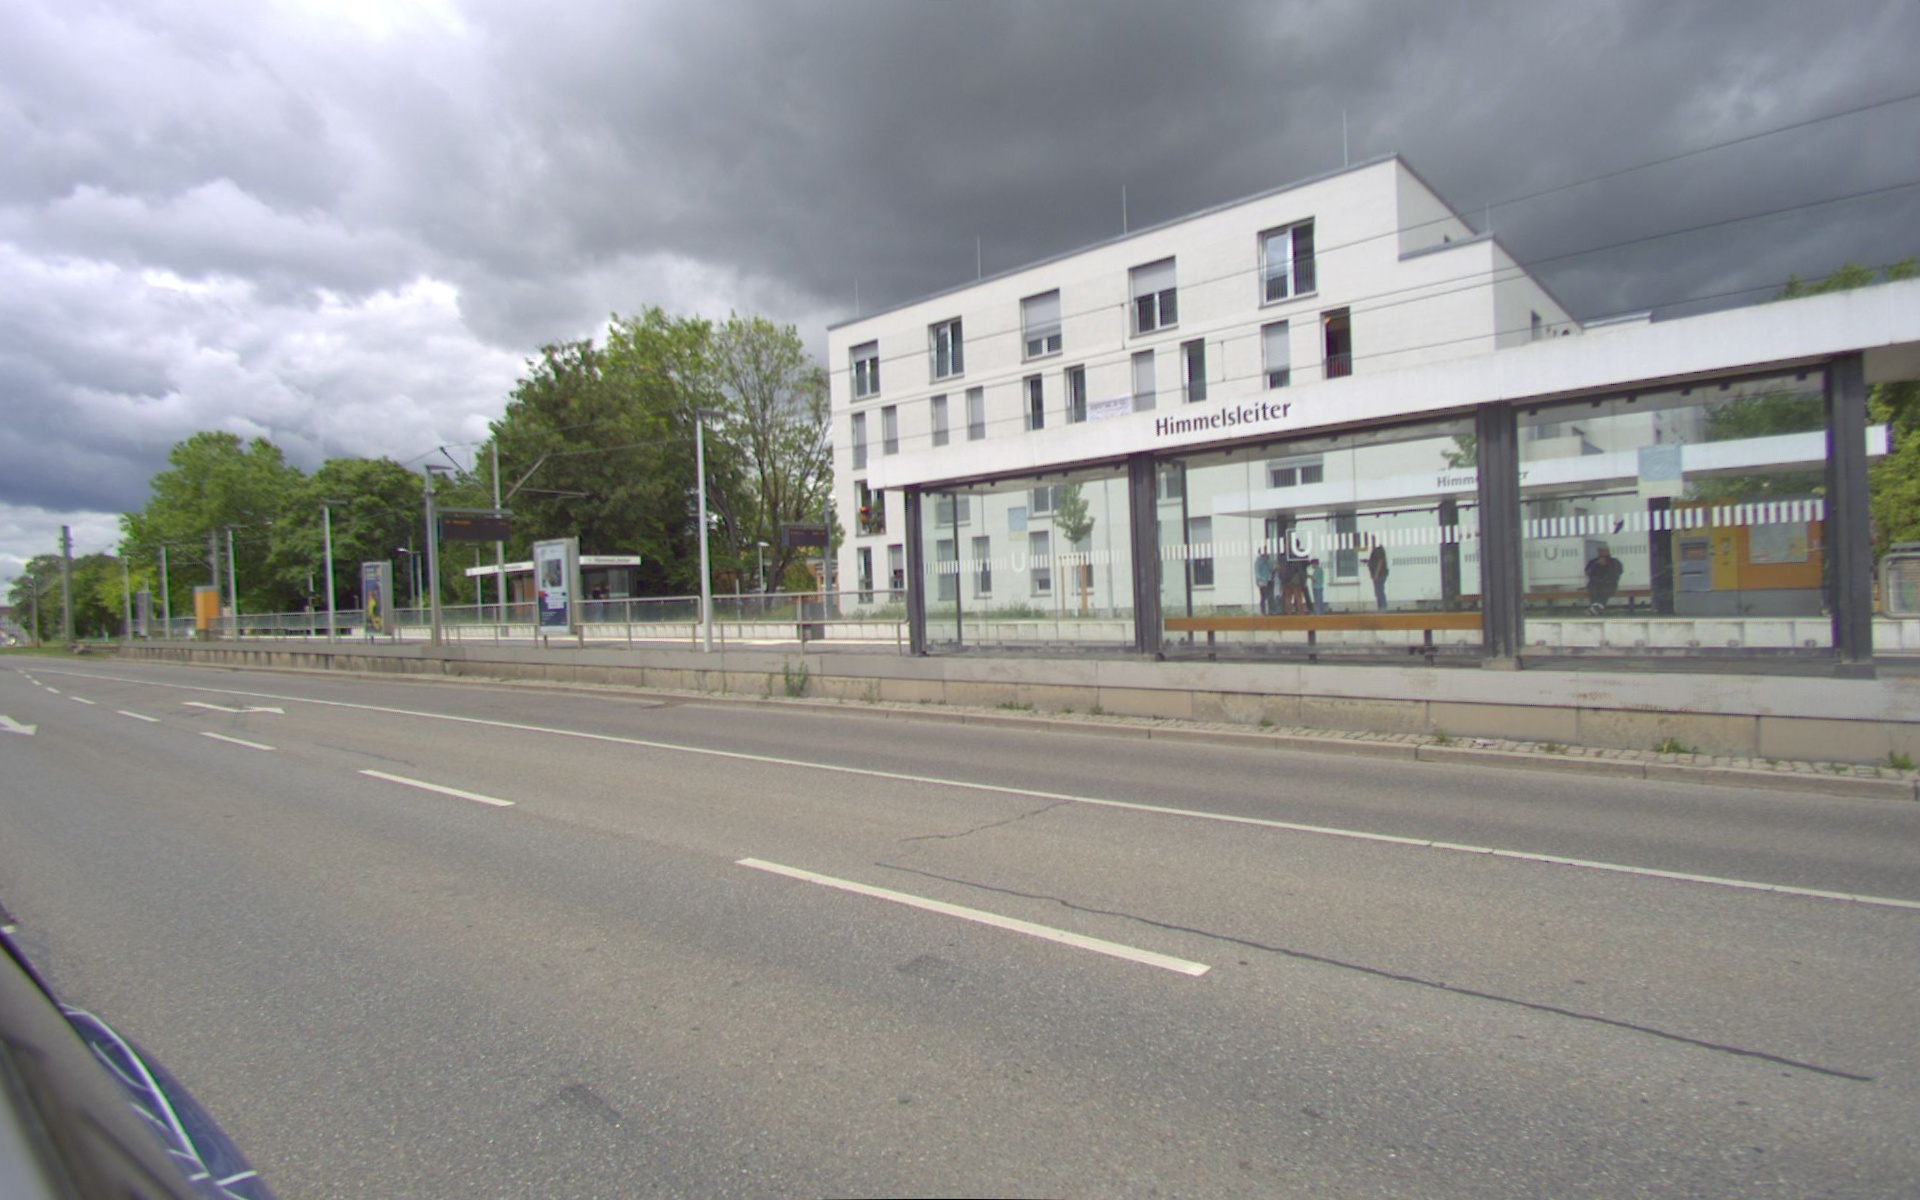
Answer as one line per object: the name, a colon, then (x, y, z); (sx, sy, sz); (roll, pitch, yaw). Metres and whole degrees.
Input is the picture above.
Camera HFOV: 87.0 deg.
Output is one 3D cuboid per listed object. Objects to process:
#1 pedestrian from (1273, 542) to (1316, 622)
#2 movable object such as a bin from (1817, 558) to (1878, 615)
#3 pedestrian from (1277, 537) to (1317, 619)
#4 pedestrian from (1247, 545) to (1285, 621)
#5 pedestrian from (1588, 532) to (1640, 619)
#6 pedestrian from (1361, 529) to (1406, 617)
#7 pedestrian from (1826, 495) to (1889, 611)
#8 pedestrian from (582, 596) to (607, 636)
pedestrian: (6.937, -0.368, 21.006); (0.481, 1.608, 0.679); (-2, 0, -15)
movable object such as a bin: (13.814, -0.209, 15.755); (0.677, 0.856, 0.555); (-2, 0, 42)
pedestrian: (7.320, -0.479, 22.023); (0.669, 1.738, 0.488); (-2, 0, 6)
pedestrian: (6.627, -0.358, 21.940); (0.481, 1.608, 0.679); (-2, 0, -7)
pedestrian: (12.043, -0.446, 18.627); (0.677, 1.566, 0.555); (-2, 0, 42)
pedestrian: (8.783, -0.559, 21.004); (0.481, 1.779, 0.679); (-2, 0, -15)
pedestrian: (14.218, -0.736, 16.042); (0.677, 1.779, 0.555); (-2, 0, 42)
pedestrian: (-14.611, 0.624, 40.463); (0.733, 1.542, 0.547); (-2, 0, -2)
